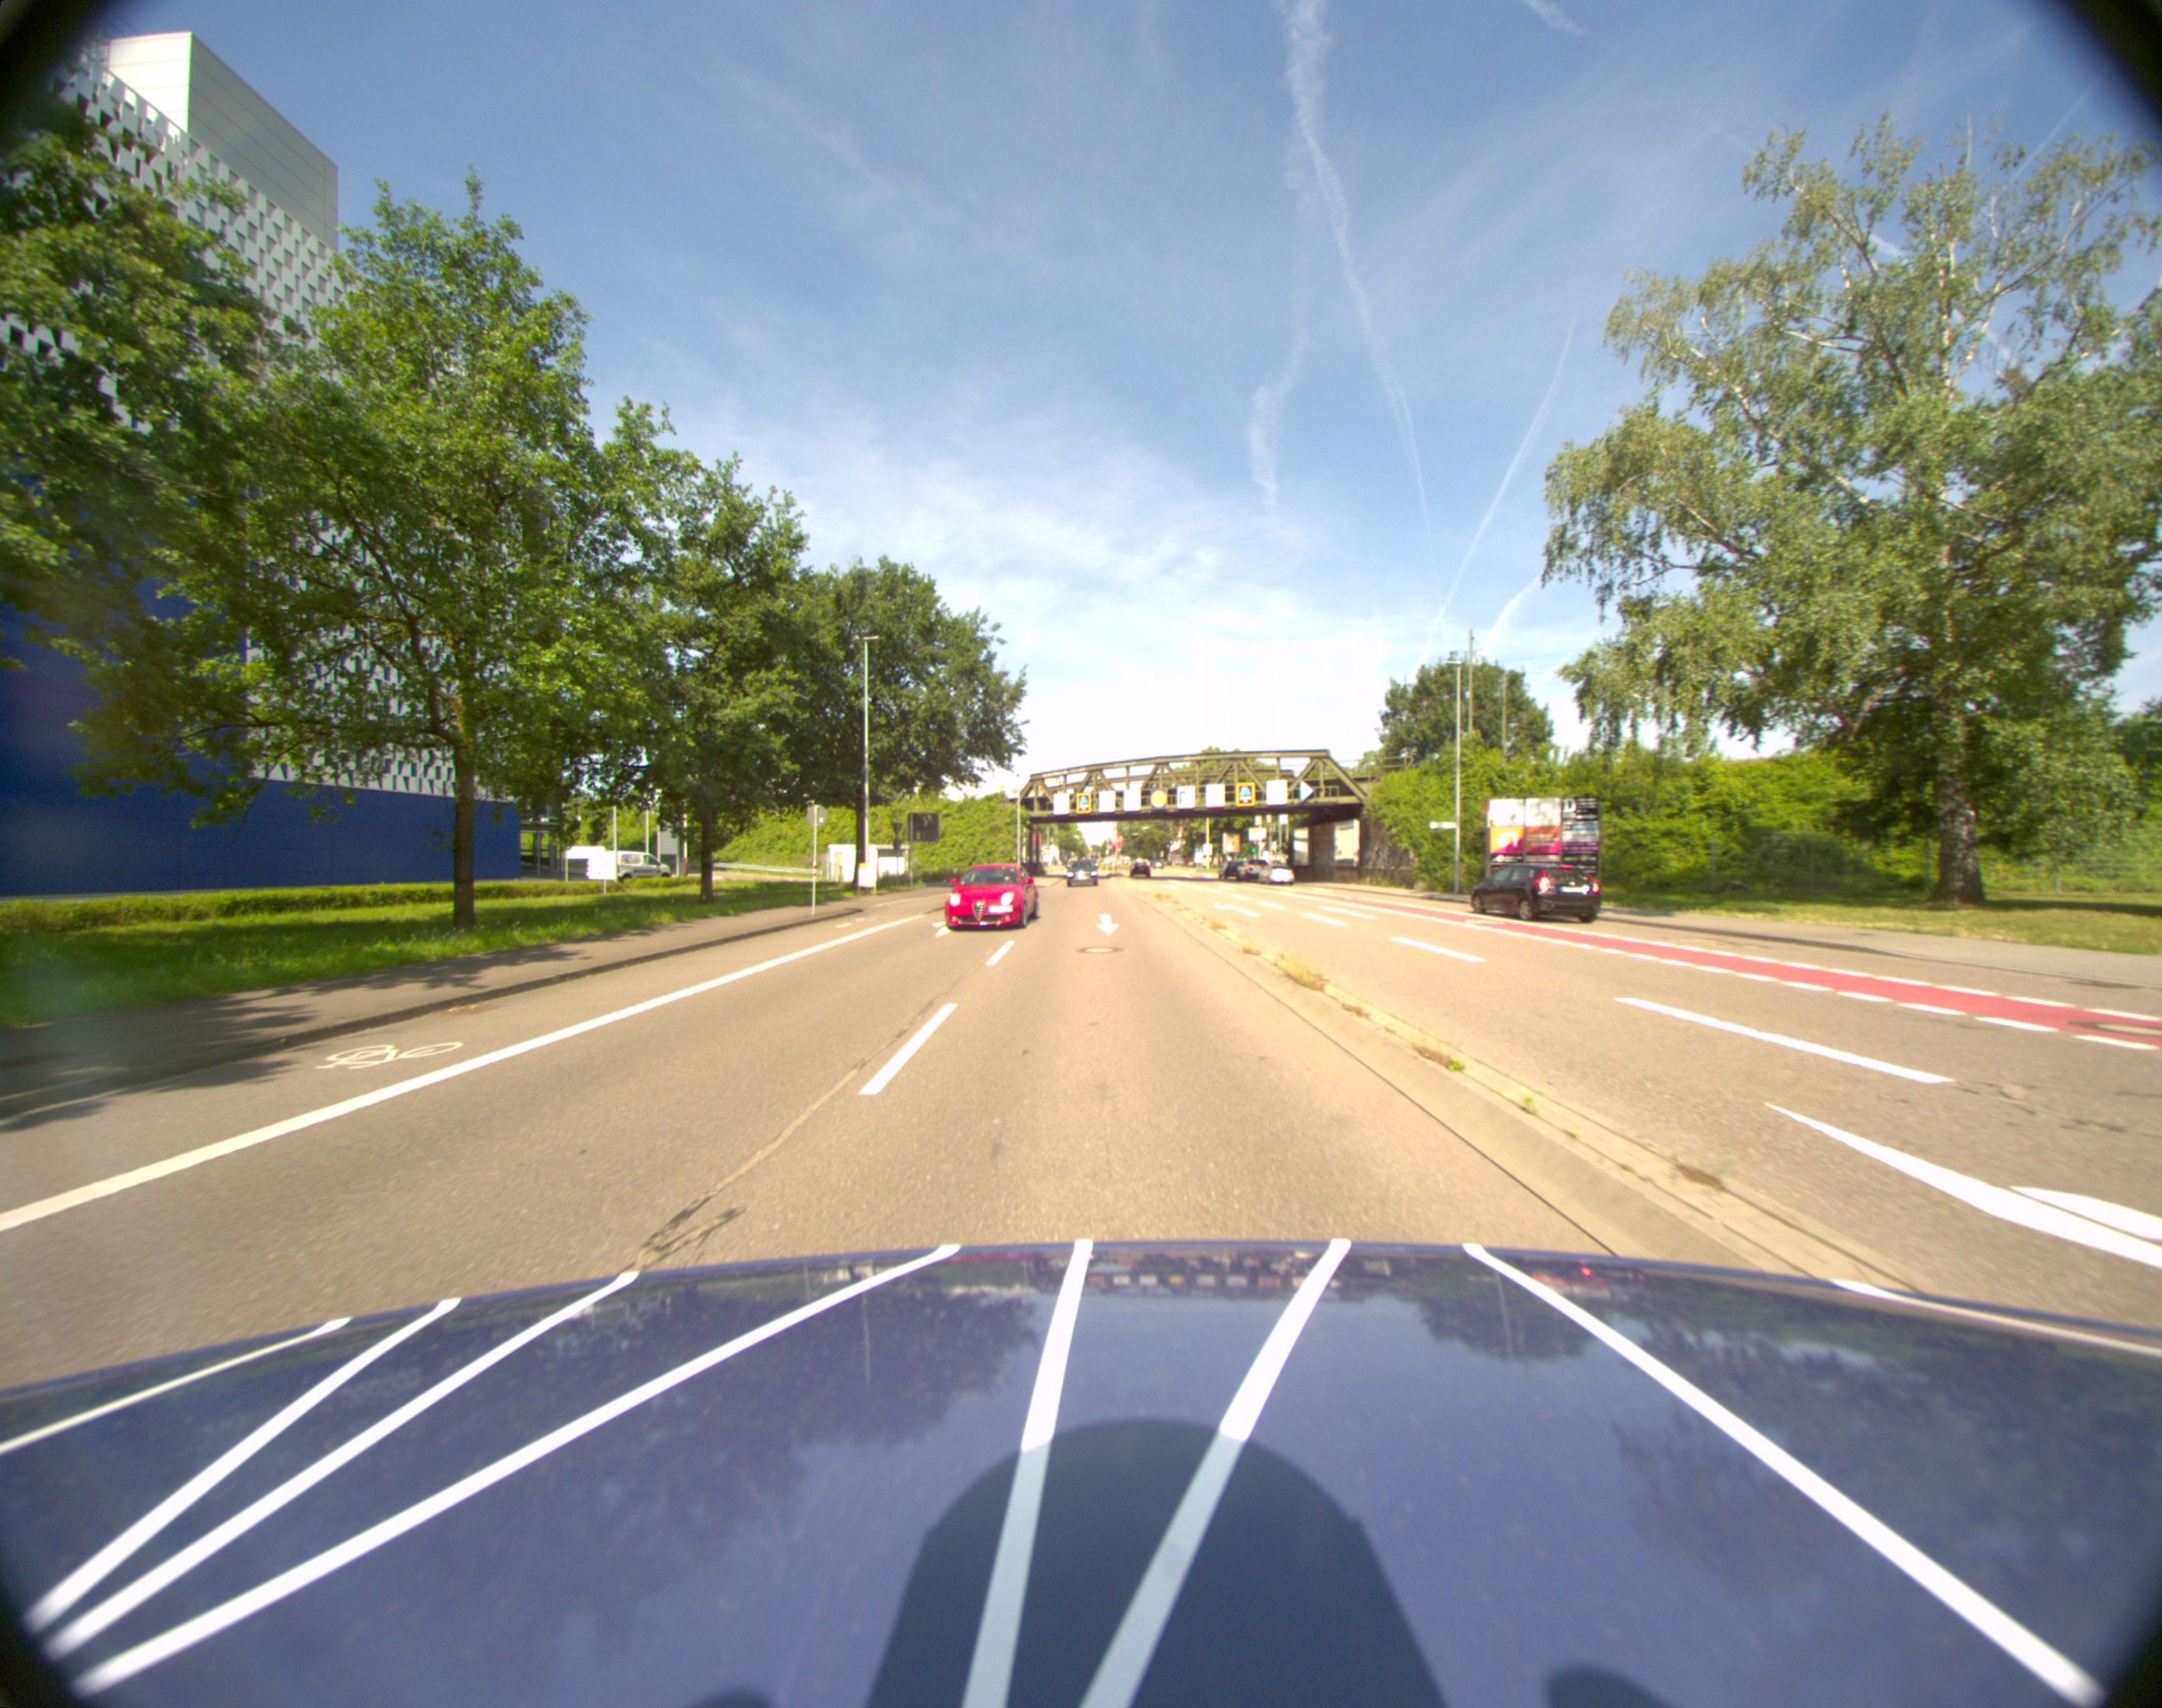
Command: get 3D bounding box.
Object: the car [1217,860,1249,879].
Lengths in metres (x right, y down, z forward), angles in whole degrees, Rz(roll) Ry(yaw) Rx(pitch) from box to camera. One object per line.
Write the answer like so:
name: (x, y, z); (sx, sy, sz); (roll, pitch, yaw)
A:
car: (13.188, 1.300, 66.158); (1.877, 1.586, 4.387); (0, 0, 0)

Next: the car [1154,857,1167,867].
car: (14.853, 1.499, 141.964); (1.824, 1.711, 3.636); (-2, 0, -2)

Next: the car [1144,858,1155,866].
car: (15.262, 1.821, 169.722); (1.824, 1.711, 3.636); (-2, 0, -2)

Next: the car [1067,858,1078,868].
car: (-1.522, 1.572, 131.865); (1.824, 1.569, 4.246); (1, 0, 0)

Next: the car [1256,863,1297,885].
car: (13.041, 1.315, 50.961); (1.639, 1.379, 4.318); (1, 0, 1)

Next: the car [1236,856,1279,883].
car: (13.384, 1.140, 57.985); (1.998, 1.850, 5.450); (2, 0, 0)

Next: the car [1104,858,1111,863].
car: (8.706, 2.196, 252.349); (1.927, 1.507, 3.824); (-2, 0, -2)

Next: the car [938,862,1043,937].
car: (-1.986, 0.966, 17.827); (1.798, 1.446, 3.979); (-1, 1, 2)

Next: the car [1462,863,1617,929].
car: (12.136, 1.049, 20.449); (1.702, 1.510, 4.027); (1, 0, 0)

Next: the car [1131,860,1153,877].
car: (5.617, 1.313, 70.638); (1.785, 1.438, 4.120); (0, 0, 1)

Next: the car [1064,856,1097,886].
car: (0.009, 0.975, 44.869); (1.824, 1.632, 4.112); (-2, 0, 2)

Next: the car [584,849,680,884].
car: (-22.669, 0.601, 38.540); (1.854, 1.629, 4.307); (-2, 0, 8)
